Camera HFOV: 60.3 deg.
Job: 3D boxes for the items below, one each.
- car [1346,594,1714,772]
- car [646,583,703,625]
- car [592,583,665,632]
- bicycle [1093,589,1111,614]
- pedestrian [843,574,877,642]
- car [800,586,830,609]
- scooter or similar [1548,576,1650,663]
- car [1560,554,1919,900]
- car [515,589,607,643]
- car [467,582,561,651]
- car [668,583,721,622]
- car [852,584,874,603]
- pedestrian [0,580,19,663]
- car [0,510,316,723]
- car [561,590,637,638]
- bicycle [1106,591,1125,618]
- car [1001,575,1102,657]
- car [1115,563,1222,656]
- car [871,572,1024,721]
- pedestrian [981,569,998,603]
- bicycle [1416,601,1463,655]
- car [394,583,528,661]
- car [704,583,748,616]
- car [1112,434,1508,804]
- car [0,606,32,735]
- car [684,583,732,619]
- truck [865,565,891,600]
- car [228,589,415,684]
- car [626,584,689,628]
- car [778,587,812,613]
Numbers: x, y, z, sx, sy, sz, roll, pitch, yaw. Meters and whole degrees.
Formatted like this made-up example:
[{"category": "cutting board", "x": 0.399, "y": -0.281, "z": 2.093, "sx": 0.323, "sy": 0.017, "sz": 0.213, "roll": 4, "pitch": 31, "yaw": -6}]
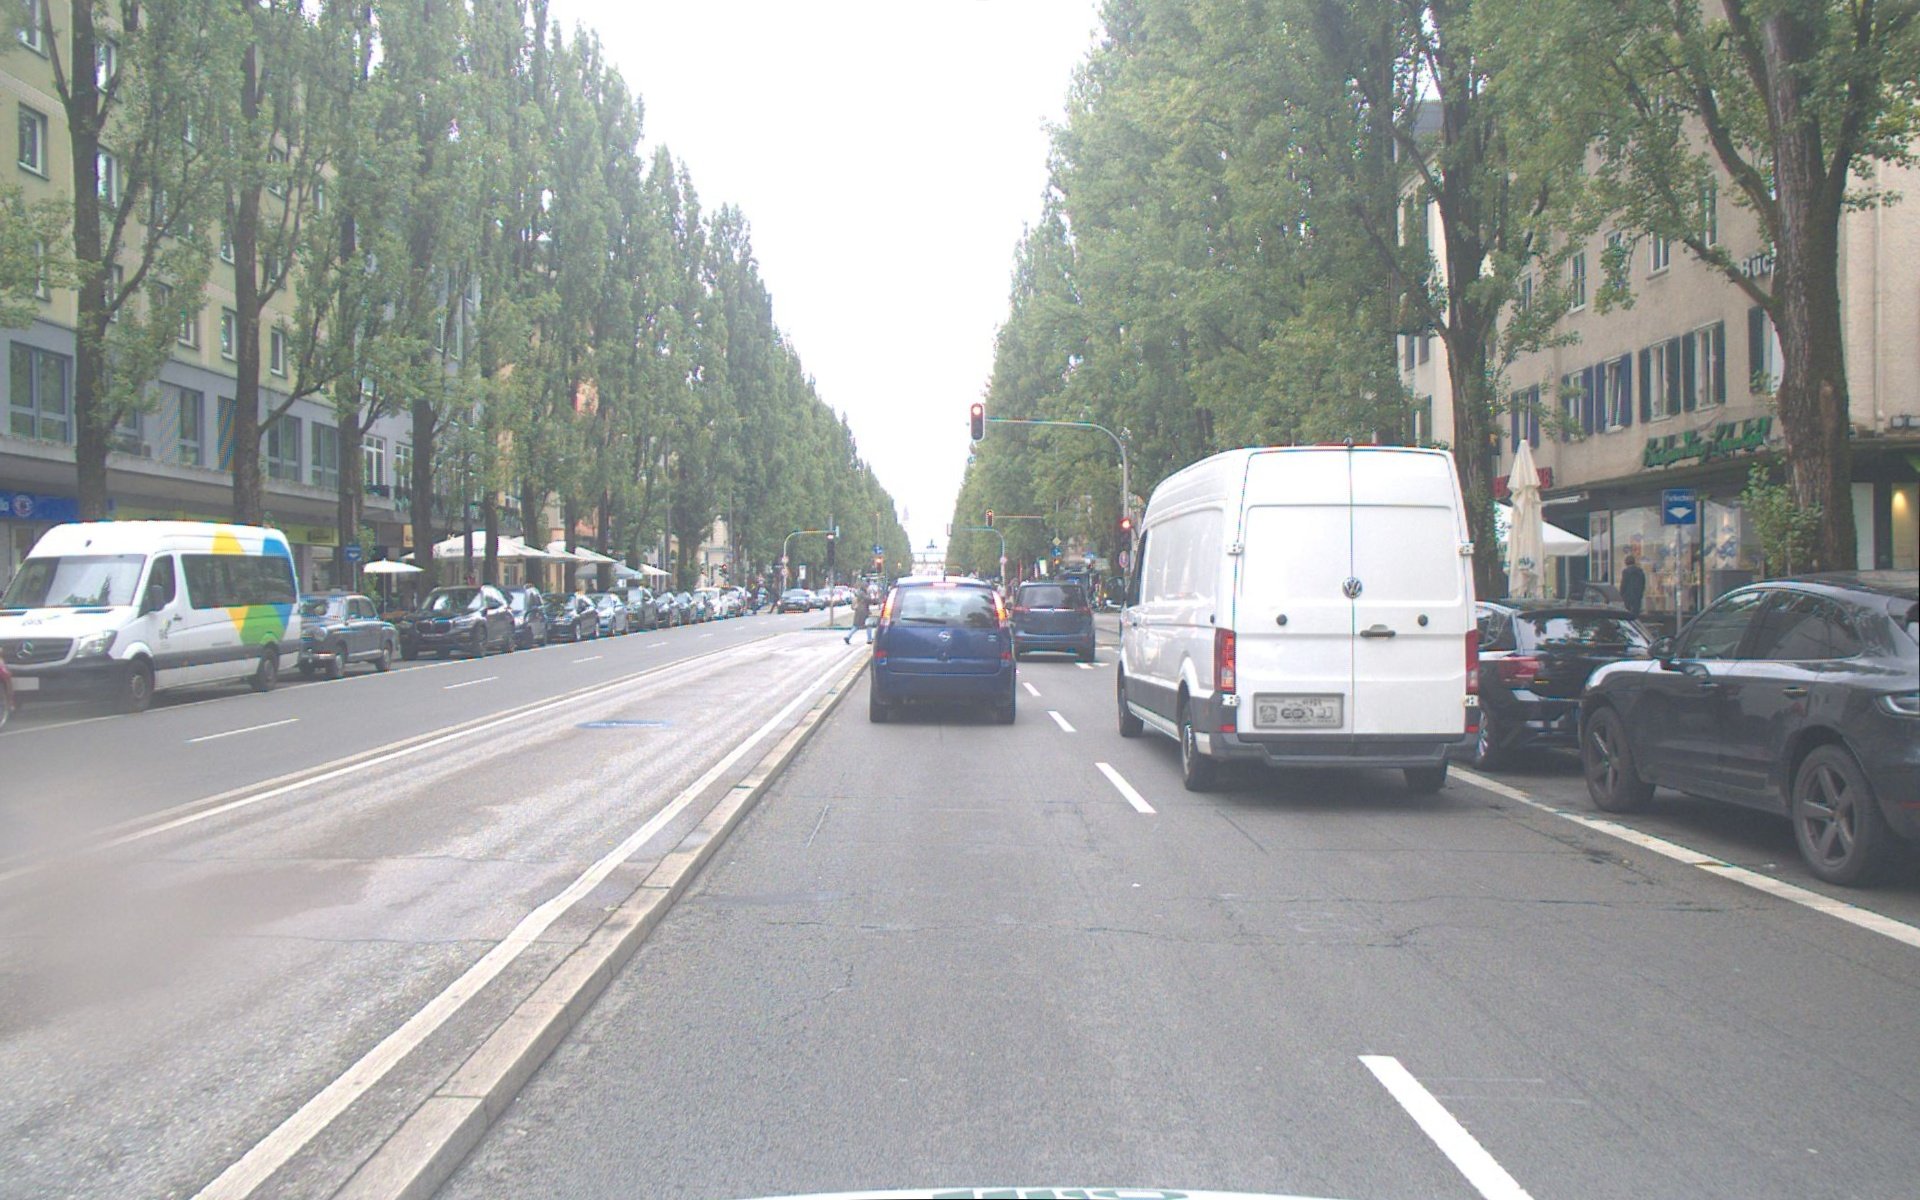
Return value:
[{"category": "car", "x": 5.160, "y": 0.671, "z": 15.637, "sx": 1.676, "sy": 1.418, "sz": 4.339, "roll": 0, "pitch": 0, "yaw": -5}, {"category": "car", "x": -12.525, "y": 0.155, "z": 72.740, "sx": 1.828, "sy": 1.694, "sz": 4.119, "roll": -2, "pitch": 1, "yaw": -1}, {"category": "car", "x": -12.322, "y": 0.243, "z": 61.692, "sx": 1.828, "sy": 1.694, "sz": 4.400, "roll": -2, "pitch": 1, "yaw": -1}, {"category": "bicycle", "x": 8.098, "y": 0.088, "z": 94.645, "sx": 0.757, "sy": 1.372, "sz": 2.449, "roll": -1, "pitch": 0, "yaw": -1}, {"category": "pedestrian", "x": -2.535, "y": 0.195, "z": 41.891, "sx": 0.843, "sy": 1.714, "sz": 0.626, "roll": 0, "pitch": 0, "yaw": -4}, {"category": "car", "x": -9.795, "y": -0.166, "z": 112.178, "sx": 1.710, "sy": 1.459, "sz": 4.129, "roll": -2, "pitch": 1, "yaw": -1}, {"category": "scooter or similar", "x": 11.176, "y": 0.310, "z": 29.014, "sx": 0.624, "sy": 1.400, "sz": 2.493, "roll": -2, "pitch": 2, "yaw": -5}, {"category": "car", "x": 5.425, "y": 0.608, "z": 10.056, "sx": 1.767, "sy": 1.666, "sz": 4.445, "roll": 1, "pitch": 0, "yaw": -3}, {"category": "car", "x": -12.086, "y": 0.452, "z": 50.328, "sx": 1.762, "sy": 1.514, "sz": 4.349, "roll": -2, "pitch": 1, "yaw": -1}, {"category": "car", "x": -12.093, "y": 0.414, "z": 45.078, "sx": 1.676, "sy": 1.751, "sz": 3.919, "roll": -2, "pitch": 1, "yaw": -4}, {"category": "car", "x": -12.525, "y": 0.087, "z": 78.267, "sx": 1.828, "sy": 1.694, "sz": 4.119, "roll": -2, "pitch": 1, "yaw": -1}, {"category": "car", "x": -8.121, "y": -0.552, "z": 138.402, "sx": 1.699, "sy": 1.491, "sz": 3.364, "roll": -1, "pitch": 1, "yaw": -1}, {"category": "pedestrian", "x": -20.229, "y": 0.444, "z": 34.547, "sx": 0.683, "sy": 1.729, "sz": 0.727, "roll": -1, "pitch": 0, "yaw": 3}, {"category": "car", "x": -11.722, "y": 0.185, "z": 24.149, "sx": 1.965, "sy": 2.612, "sz": 6.911, "roll": -2, "pitch": 1, "yaw": -1}, {"category": "car", "x": -12.156, "y": 0.442, "z": 55.904, "sx": 1.698, "sy": 1.450, "sz": 4.142, "roll": -2, "pitch": 1, "yaw": -1}, {"category": "bicycle", "x": 8.313, "y": 0.230, "z": 88.438, "sx": 0.757, "sy": 1.372, "sz": 2.449, "roll": -1, "pitch": 0, "yaw": -1}, {"category": "car", "x": 1.878, "y": 0.301, "z": 35.108, "sx": 1.858, "sy": 1.650, "sz": 3.999, "roll": 0, "pitch": 1, "yaw": -1}, {"category": "car", "x": 4.659, "y": 0.171, "z": 37.507, "sx": 1.751, "sy": 1.980, "sz": 4.729, "roll": 0, "pitch": 1, "yaw": -1}, {"category": "car", "x": -0.158, "y": 0.480, "z": 19.833, "sx": 1.637, "sy": 1.596, "sz": 3.999, "roll": 0, "pitch": 1, "yaw": -1}, {"category": "pedestrian", "x": 1.649, "y": -0.794, "z": 92.419, "sx": 0.707, "sy": 1.859, "sz": 0.885, "roll": 1, "pitch": 0, "yaw": -11}, {"category": "bicycle", "x": 9.285, "y": 0.539, "z": 32.073, "sx": 0.342, "sy": 1.013, "sz": 1.453, "roll": -2, "pitch": 0, "yaw": -5}, {"category": "car", "x": -11.877, "y": 0.480, "z": 39.684, "sx": 1.828, "sy": 1.693, "sz": 4.610, "roll": -2, "pitch": 1, "yaw": -1}, {"category": "car", "x": -12.822, "y": -0.061, "z": 90.798, "sx": 1.828, "sy": 1.694, "sz": 4.119, "roll": -2, "pitch": 1, "yaw": -1}, {"category": "car", "x": 2.723, "y": 0.095, "z": 14.755, "sx": 2.021, "sy": 2.536, "sz": 6.729, "roll": 0, "pitch": 1, "yaw": -1}, {"category": "car", "x": -11.652, "y": 0.841, "z": 17.173, "sx": 1.702, "sy": 1.444, "sz": 4.147, "roll": -2, "pitch": 1, "yaw": -1}, {"category": "car", "x": -12.689, "y": 0.044, "z": 83.525, "sx": 1.828, "sy": 1.694, "sz": 4.119, "roll": -2, "pitch": 1, "yaw": -1}, {"category": "truck", "x": -8.293, "y": -1.758, "z": 167.236, "sx": 2.334, "sy": 3.405, "sz": 7.109, "roll": -1, "pitch": 0, "yaw": -1}, {"category": "car", "x": -11.935, "y": 0.629, "z": 31.246, "sx": 1.828, "sy": 1.579, "sz": 4.413, "roll": -2, "pitch": 1, "yaw": -1}, {"category": "car", "x": -12.343, "y": 0.213, "z": 67.693, "sx": 1.828, "sy": 1.694, "sz": 4.119, "roll": -2, "pitch": 1, "yaw": -1}, {"category": "car", "x": -10.337, "y": -0.004, "z": 103.938, "sx": 1.663, "sy": 1.488, "sz": 4.712, "roll": -2, "pitch": 1, "yaw": -1}]
